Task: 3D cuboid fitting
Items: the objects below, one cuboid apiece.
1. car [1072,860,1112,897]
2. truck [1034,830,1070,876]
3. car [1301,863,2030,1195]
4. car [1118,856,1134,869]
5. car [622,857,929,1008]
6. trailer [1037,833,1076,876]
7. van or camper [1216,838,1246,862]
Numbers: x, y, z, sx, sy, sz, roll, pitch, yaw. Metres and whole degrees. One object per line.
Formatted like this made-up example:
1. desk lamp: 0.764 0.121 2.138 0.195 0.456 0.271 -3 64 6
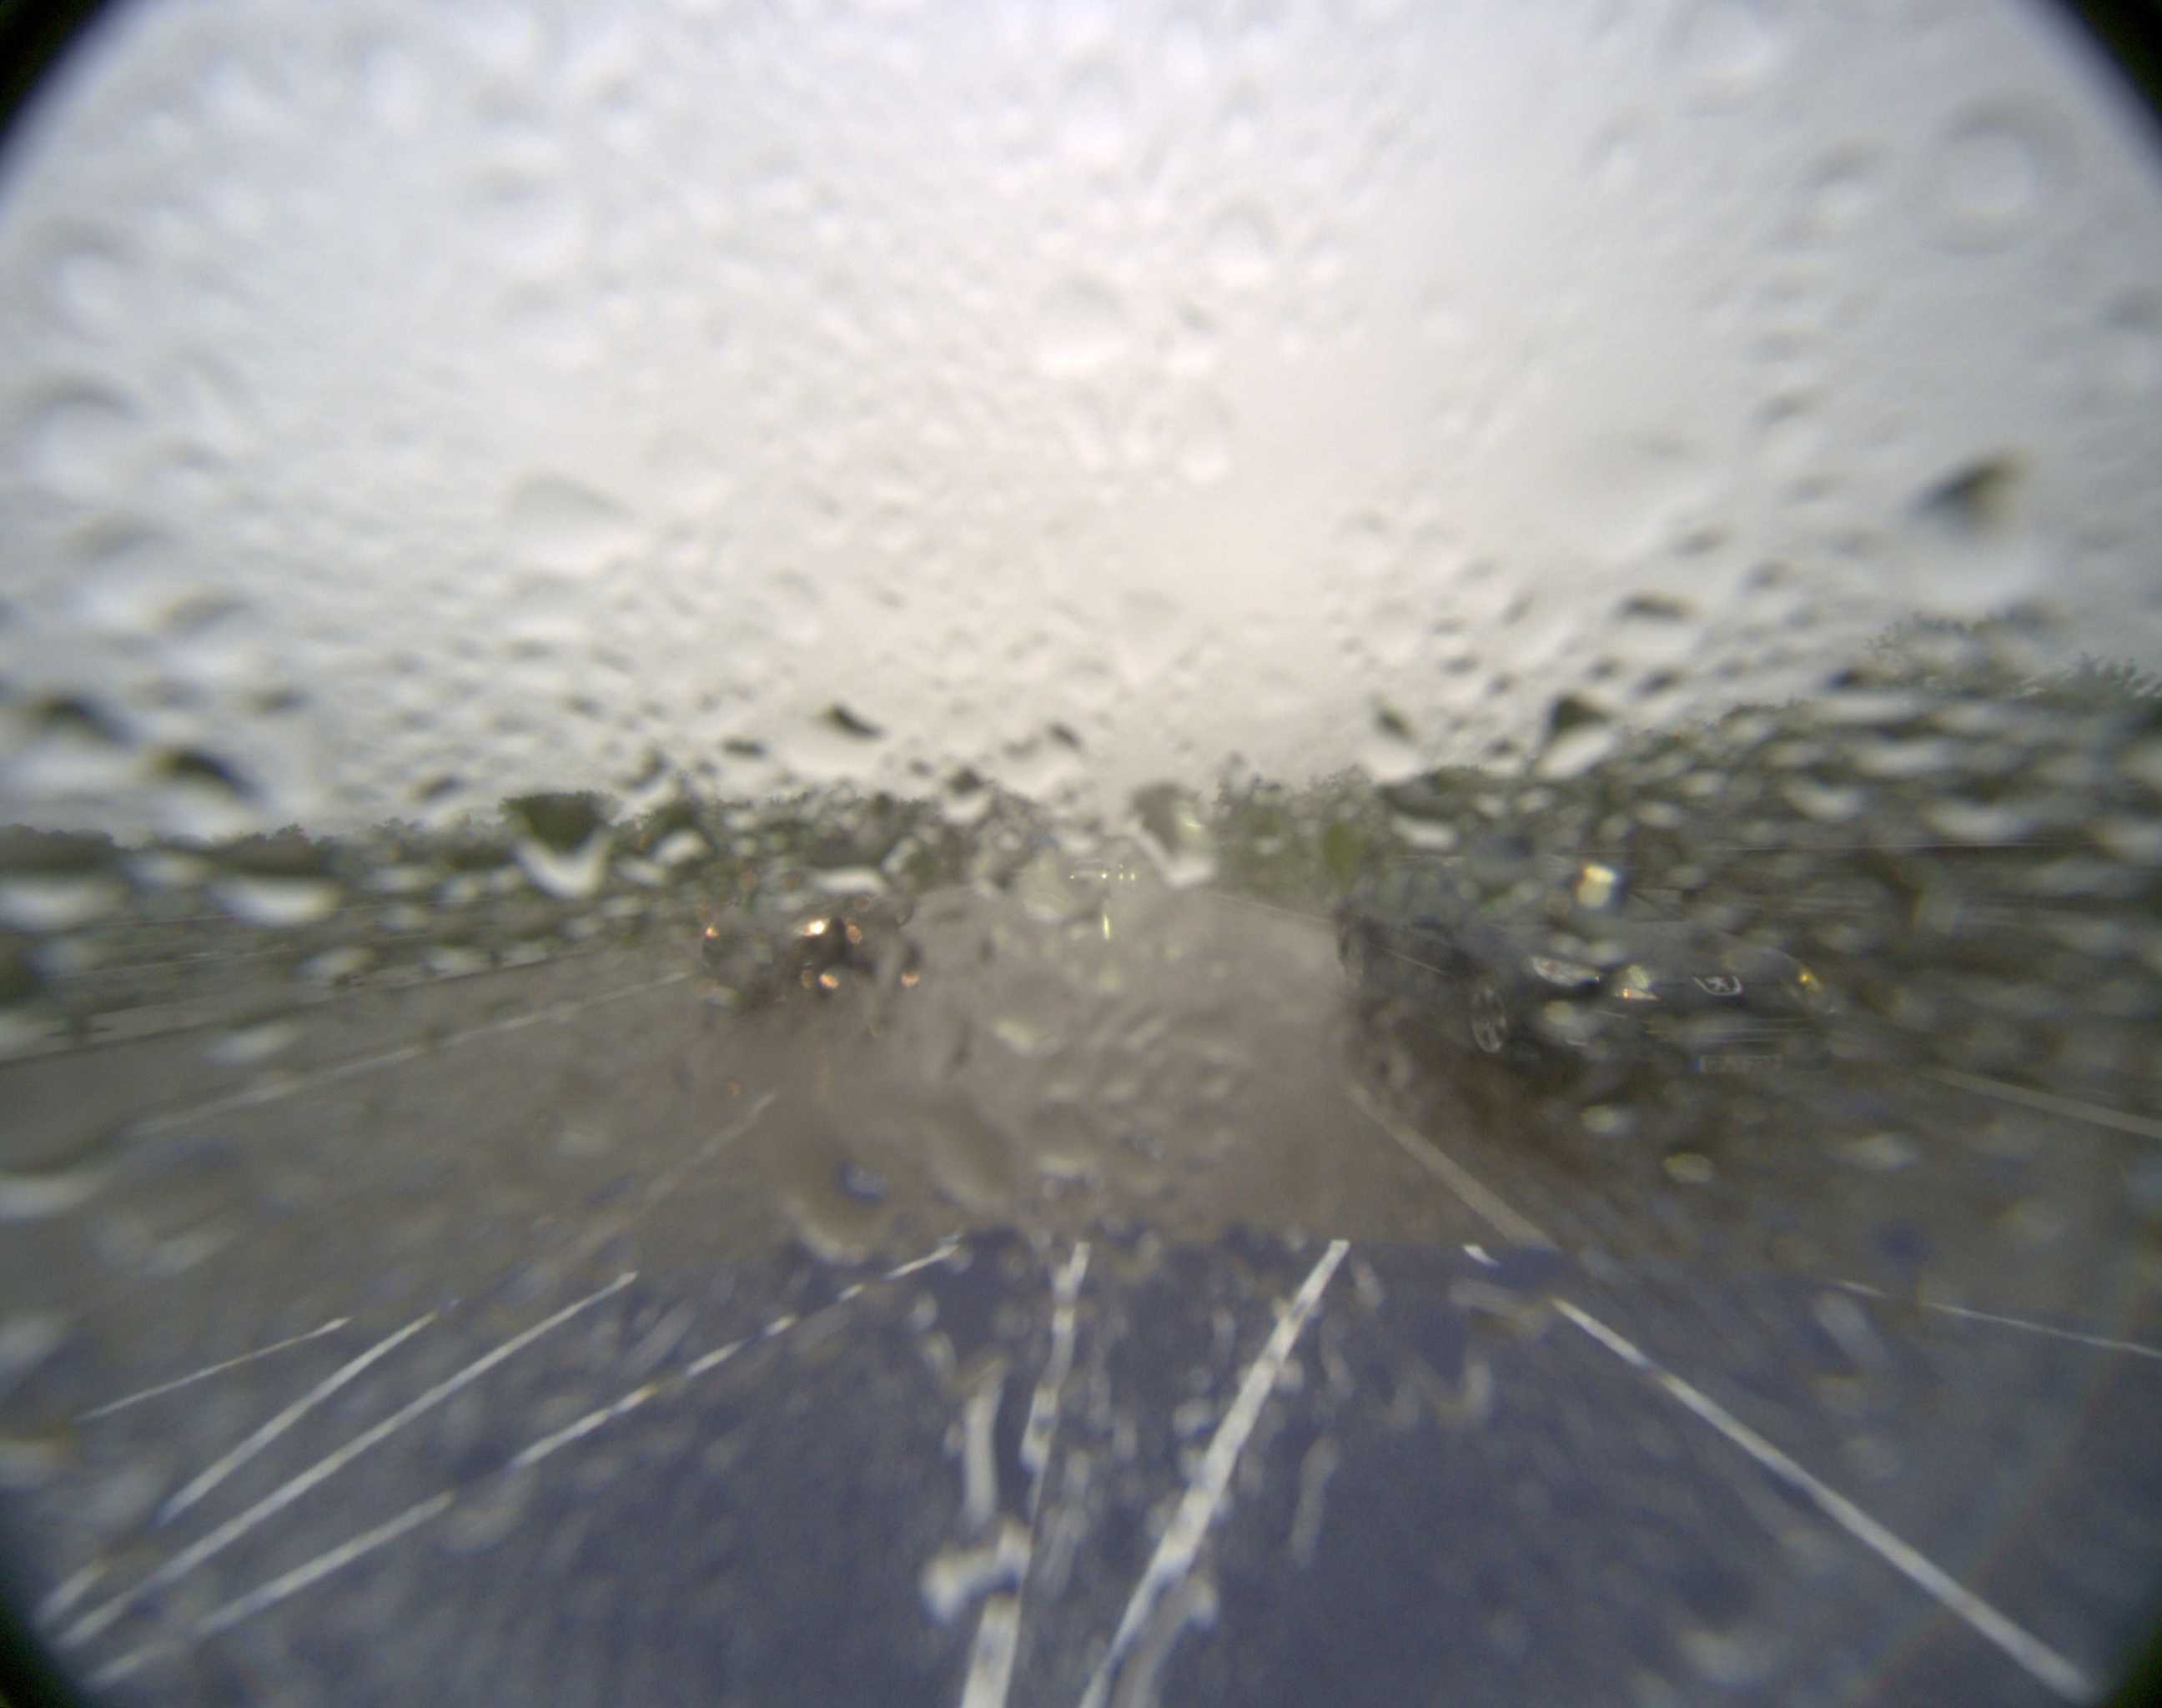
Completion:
1. car: 0.563 1.091 35.870 1.751 1.545 4.090 -2 0 2
2. truck: -2.641 -0.070 70.965 2.755 4.054 6.483 -2 0 2
3. car: 3.562 0.882 6.242 2.059 1.476 5.158 -2 0 1
4. car: 5.662 1.022 95.750 1.899 1.533 4.091 -2 0 2
5. car: -4.282 0.966 12.081 2.464 1.736 5.719 -2 0 0
6. trailer: -2.343 0.029 77.960 2.750 3.940 14.131 -2 0 2
7. van or camper: 14.662 -0.381 74.643 1.998 2.143 4.947 -2 0 1
